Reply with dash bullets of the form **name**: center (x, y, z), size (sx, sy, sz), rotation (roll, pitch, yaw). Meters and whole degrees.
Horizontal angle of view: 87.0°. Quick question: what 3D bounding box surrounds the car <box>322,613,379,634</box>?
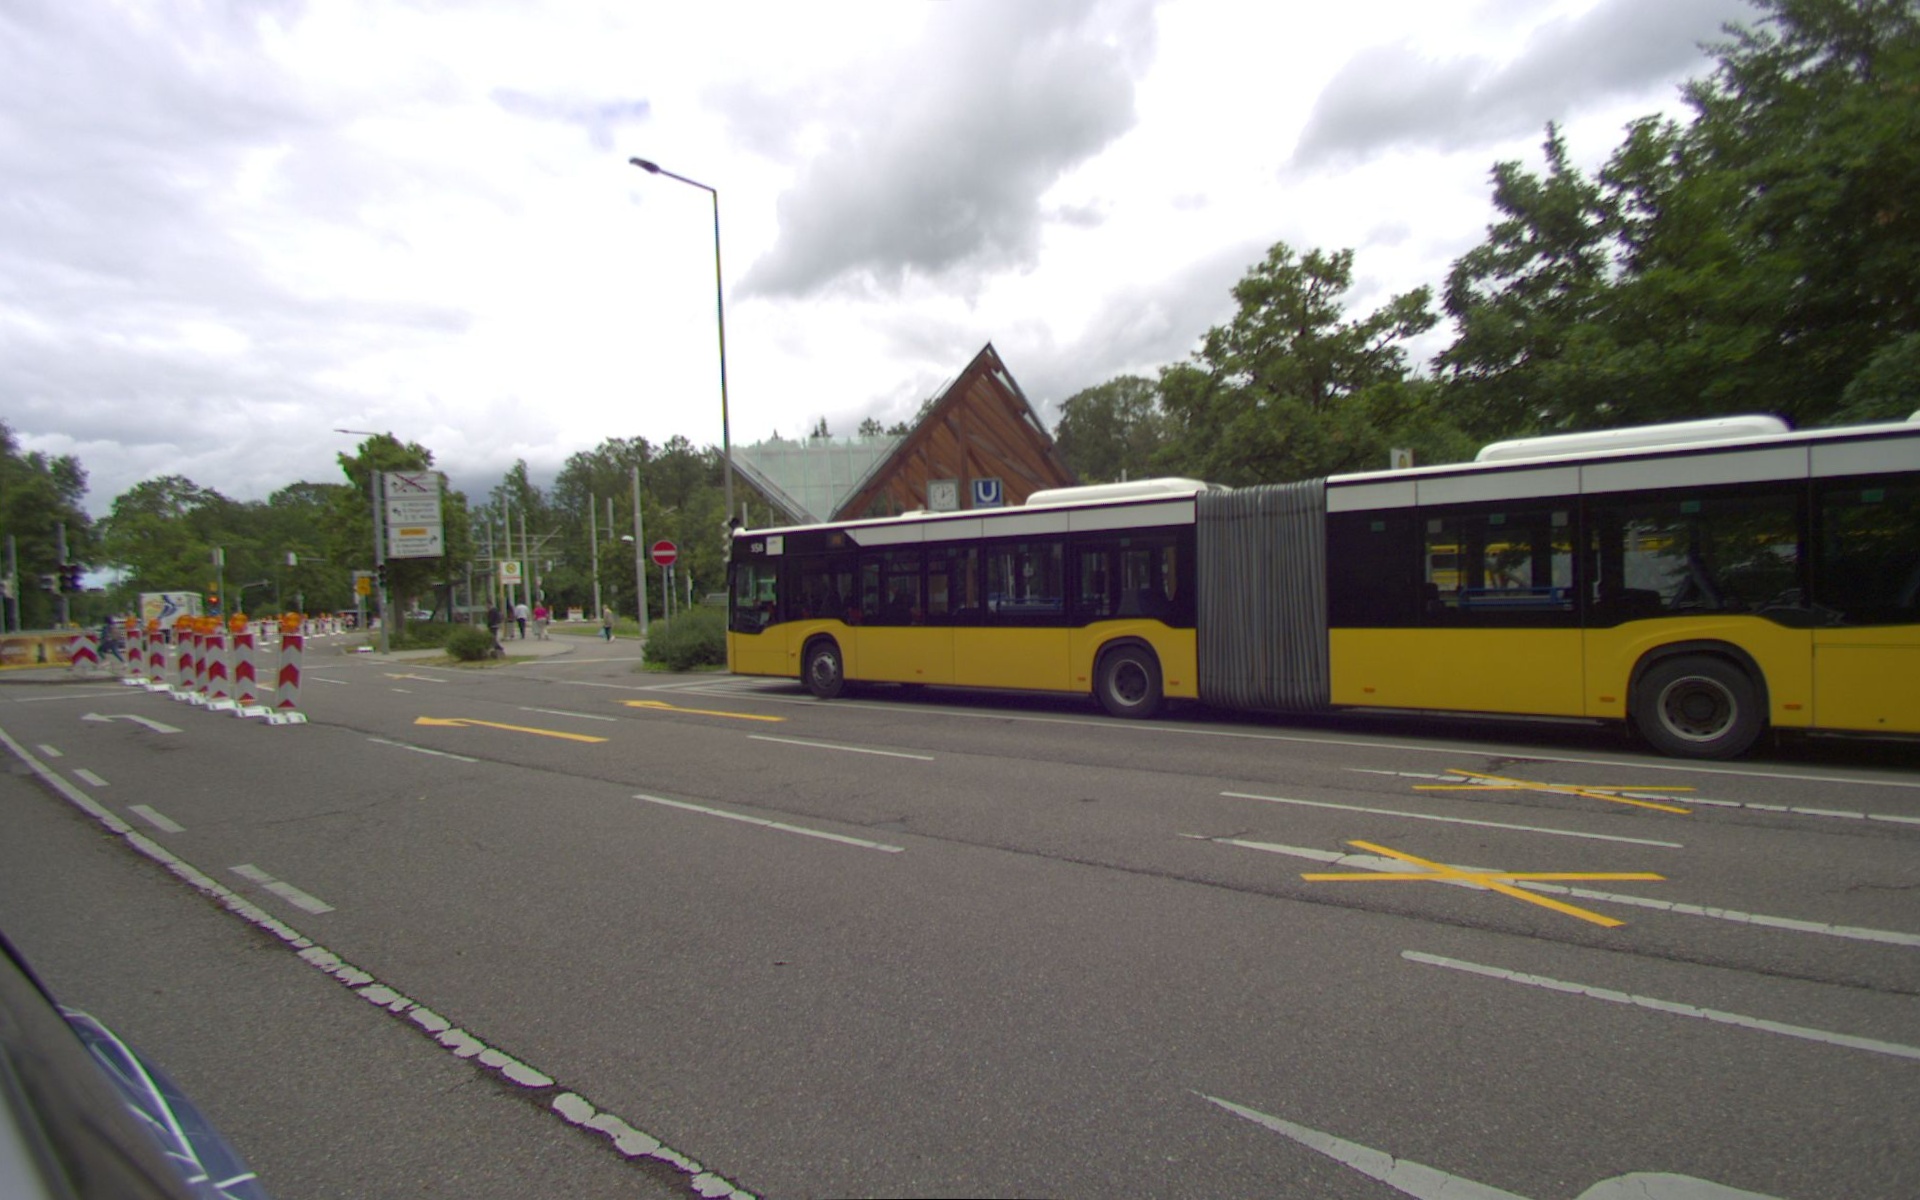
- **car**: center (-62.468, 2.430, 103.767), size (4.781, 1.829, 1.994), rotation (-3, 1, 10)

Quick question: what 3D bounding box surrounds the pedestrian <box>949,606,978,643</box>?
- **pedestrian**: center (0.091, 0.695, 28.823), size (0.548, 0.991, 0.567), rotation (-4, 1, -32)

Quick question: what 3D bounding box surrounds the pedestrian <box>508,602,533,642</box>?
- **pedestrian**: center (-19.184, 0.963, 44.190), size (0.675, 1.678, 0.871), rotation (-4, 1, -42)

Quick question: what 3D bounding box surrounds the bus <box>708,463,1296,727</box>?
- **bus**: center (0.081, 0.011, 16.355), size (9.752, 3.150, 2.869), rotation (-2, 0, 40)

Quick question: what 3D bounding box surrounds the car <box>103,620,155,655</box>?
- **car**: center (-39.248, 1.732, 47.760), size (1.786, 1.520, 4.314), rotation (0, 0, -41)

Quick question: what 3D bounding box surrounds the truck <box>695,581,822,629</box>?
- **truck**: center (-10.787, 0.289, 54.177), size (6.261, 2.186, 2.588), rotation (-3, 1, 23)

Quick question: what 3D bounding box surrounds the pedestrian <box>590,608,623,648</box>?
- **pedestrian**: center (-14.135, 1.119, 40.487), size (0.872, 1.536, 0.760), rotation (-3, 1, 29)

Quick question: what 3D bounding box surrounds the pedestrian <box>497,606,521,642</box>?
- **pedestrian**: center (-20.066, 1.062, 45.039), size (0.764, 1.557, 0.630), rotation (-4, 2, -37)

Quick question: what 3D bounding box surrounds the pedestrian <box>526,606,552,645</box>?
- **pedestrian**: center (-17.879, 1.082, 42.990), size (0.779, 1.563, 0.777), rotation (-4, 1, -39)

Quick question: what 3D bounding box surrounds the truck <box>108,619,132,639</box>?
- **truck**: center (-143.526, 4.960, 172.846), size (2.707, 3.235, 6.680), rotation (-4, 1, -42)

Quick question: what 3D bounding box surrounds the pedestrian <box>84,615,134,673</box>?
- **pedestrian**: center (-25.635, 1.310, 30.501), size (1.076, 1.689, 0.913), rotation (-1, 0, -38)

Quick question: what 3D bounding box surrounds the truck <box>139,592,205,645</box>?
- **truck**: center (-51.093, 1.201, 65.729), size (2.592, 3.263, 6.225), rotation (0, -1, -30)

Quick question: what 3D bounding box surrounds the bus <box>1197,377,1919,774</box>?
- **bus**: center (7.092, -0.178, 10.373), size (8.687, 3.150, 2.869), rotation (-2, 0, 40)

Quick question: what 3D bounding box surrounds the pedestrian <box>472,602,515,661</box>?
- **pedestrian**: center (-15.246, 1.013, 33.087), size (0.980, 1.822, 0.767), rotation (-3, 1, -2)
